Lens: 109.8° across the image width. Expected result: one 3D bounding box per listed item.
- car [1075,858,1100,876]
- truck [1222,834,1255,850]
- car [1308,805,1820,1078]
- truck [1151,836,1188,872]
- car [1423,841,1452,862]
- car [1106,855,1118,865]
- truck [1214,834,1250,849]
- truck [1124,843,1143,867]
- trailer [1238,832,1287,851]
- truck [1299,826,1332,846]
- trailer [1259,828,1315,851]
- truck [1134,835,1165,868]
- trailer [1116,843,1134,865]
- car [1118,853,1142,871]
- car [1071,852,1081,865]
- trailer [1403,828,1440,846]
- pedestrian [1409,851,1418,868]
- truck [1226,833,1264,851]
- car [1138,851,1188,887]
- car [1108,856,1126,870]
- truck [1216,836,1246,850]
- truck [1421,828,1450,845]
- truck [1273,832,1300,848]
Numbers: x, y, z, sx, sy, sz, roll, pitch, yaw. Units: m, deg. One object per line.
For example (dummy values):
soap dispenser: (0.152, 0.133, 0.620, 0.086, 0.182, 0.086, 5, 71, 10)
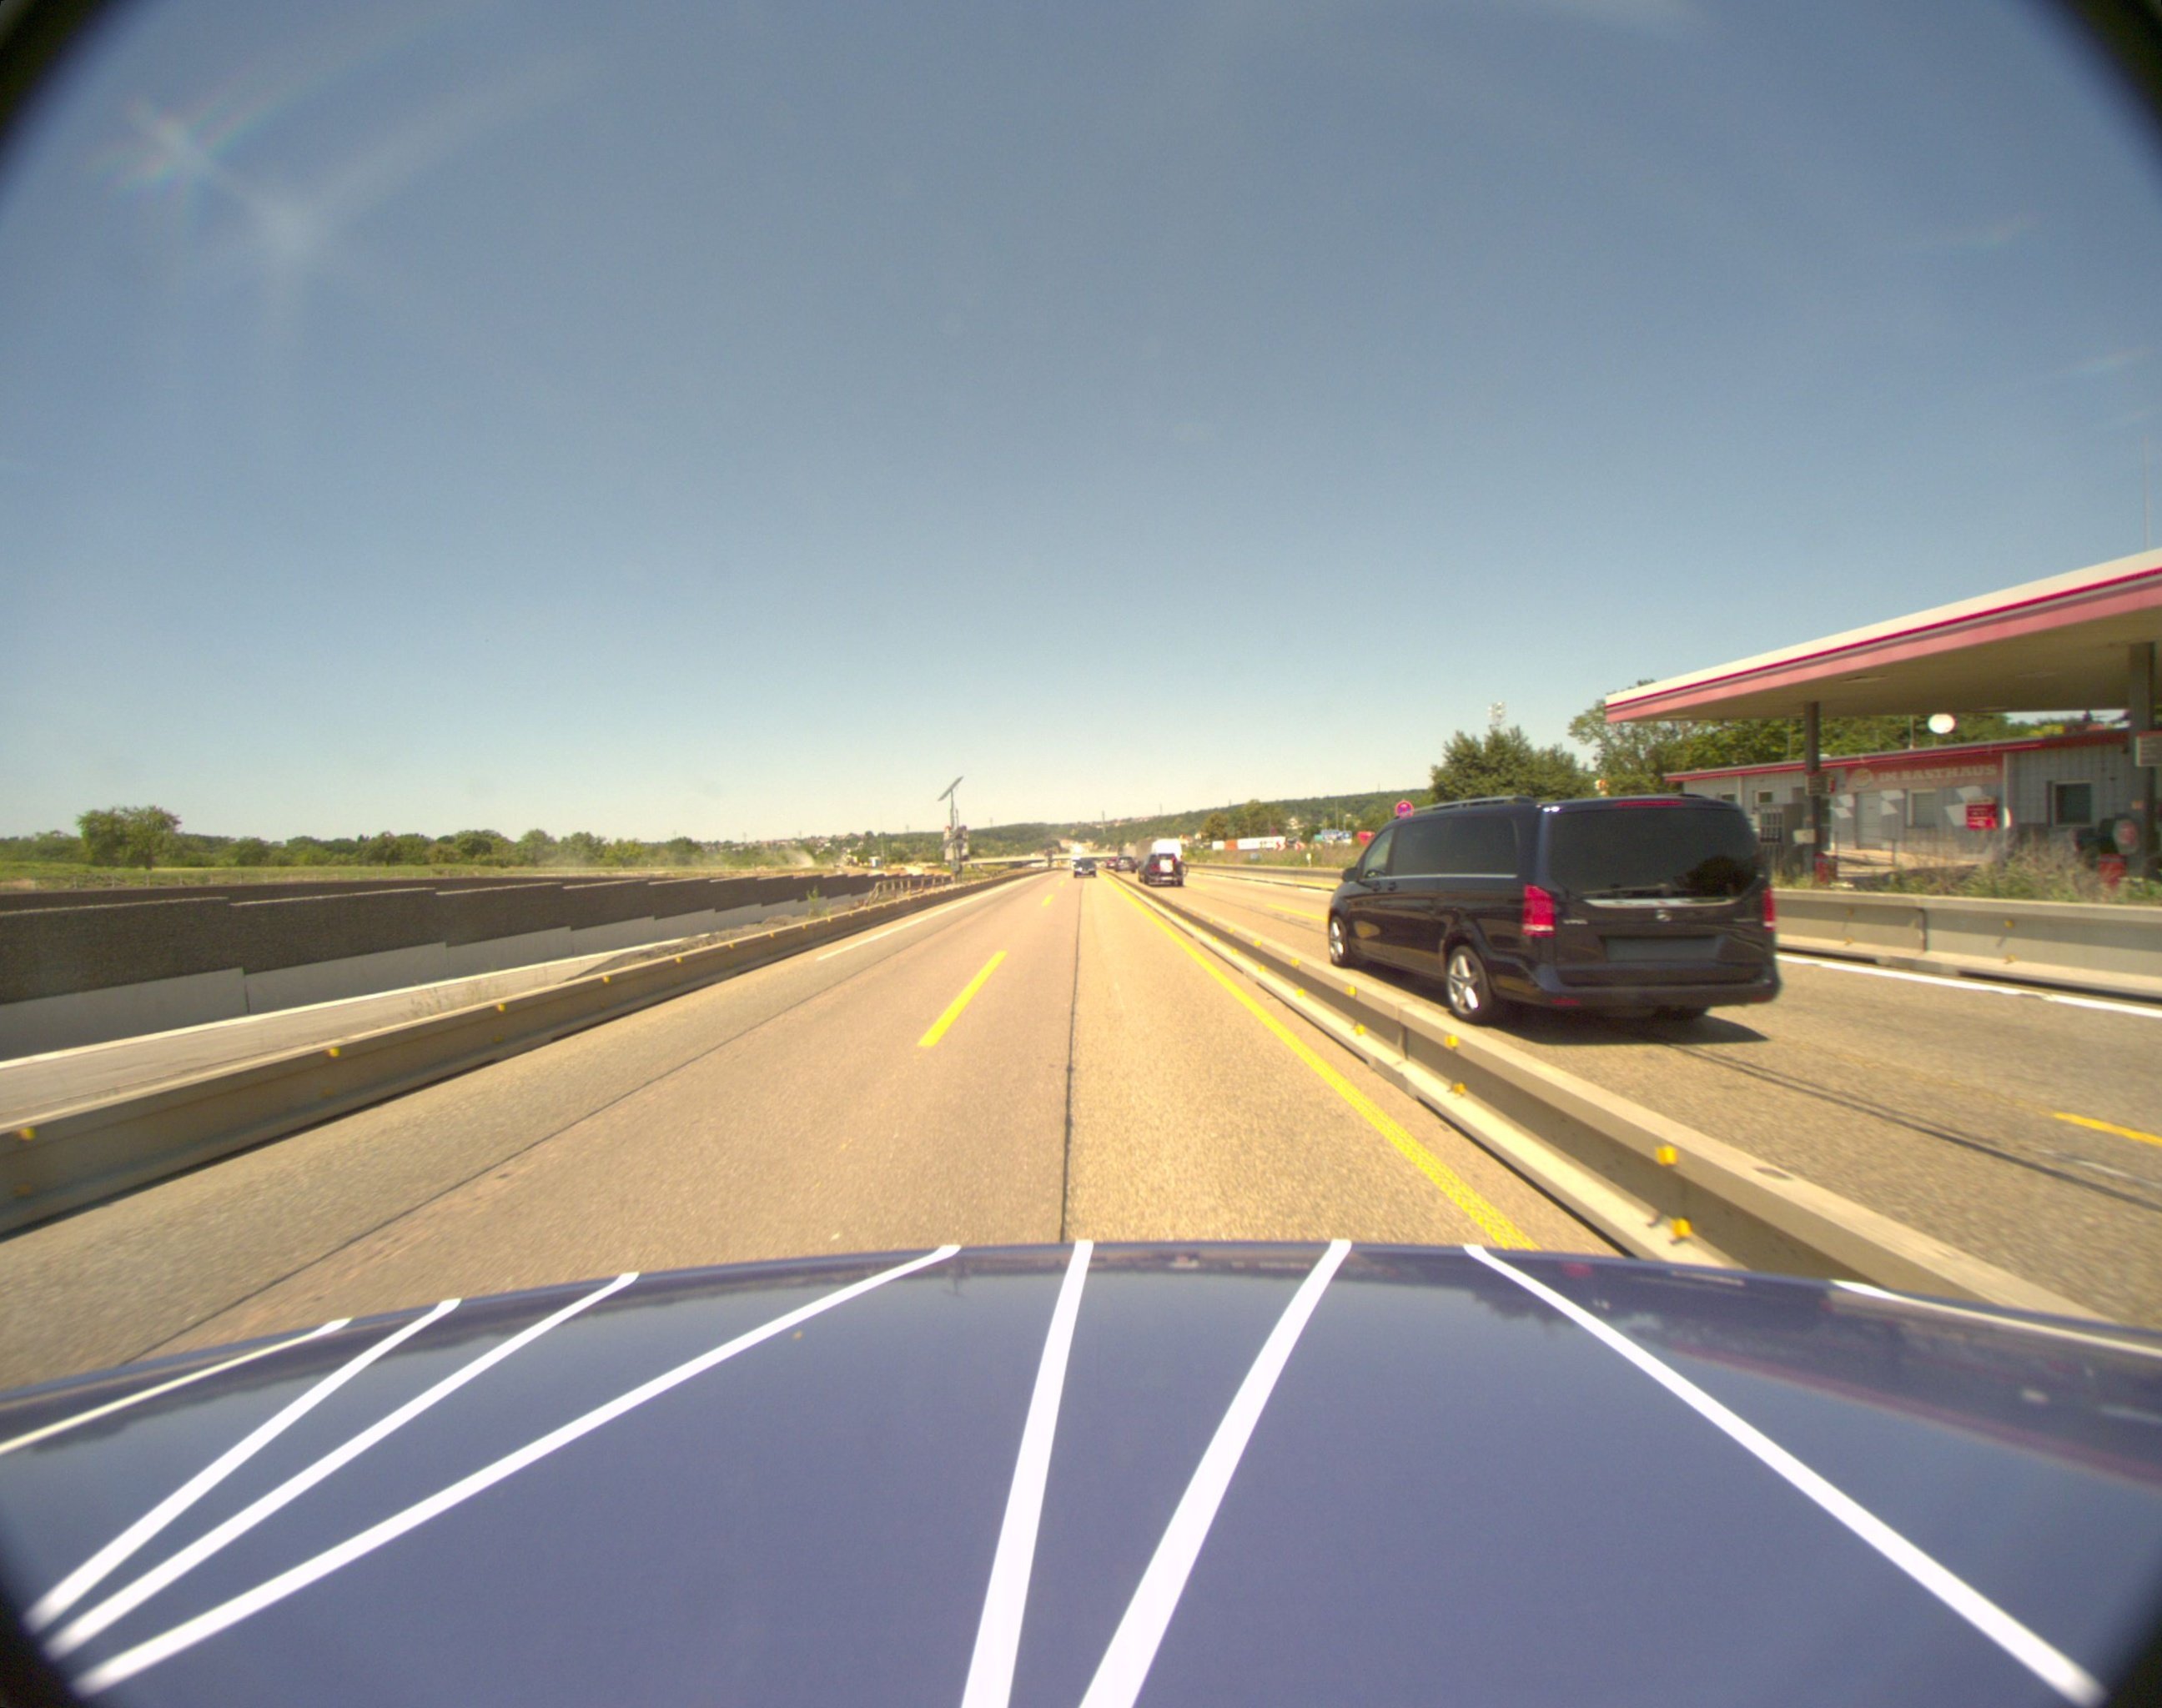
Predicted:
car: (0.531, 0.978, 57.385, 1.810, 1.299, 4.000, -2, 0, 1)
truck: (47.086, -3.595, 226.850, 9.253, 3.652, 2.867, -6, 0, 44)
car: (4.043, 0.609, 7.702, 1.912, 1.794, 5.082, -2, 0, 0)
truck: (7.359, 0.022, 63.761, 2.245, 2.770, 6.492, -2, 0, 0)
car: (26.434, -0.205, 56.307, 1.500, 1.324, 4.193, -5, 0, 30)
car: (4.899, 0.910, 119.945, 1.686, 1.420, 4.202, -2, 0, 1)
truck: (48.215, -4.111, 243.661, 11.491, 3.652, 2.535, -6, 0, 44)
truck: (7.716, 0.119, 112.441, 2.395, 3.364, 7.715, -3, 0, 1)
trailer: (47.910, -3.203, 201.208, 12.721, 3.762, 2.625, -6, 0, 45)
truck: (52.722, -4.070, 171.041, 6.131, 3.728, 2.838, -5, 0, 45)
trailer: (47.607, -3.407, 176.193, 2.865, 4.142, 12.348, -5, 0, -45)
truck: (7.281, -0.279, 81.200, 2.501, 3.273, 8.116, -2, 0, 0)
trailer: (9.059, 0.048, 157.878, 3.014, 4.173, 13.852, -2, 0, 1)
car: (4.494, 0.719, 70.303, 1.943, 1.601, 4.000, -2, 0, 2)
car: (-1.261, 1.229, 201.418, 2.544, 3.126, 7.548, -3, 0, 0)
trailer: (62.883, -3.102, 140.501, 2.260, 2.751, 9.395, -3, 0, -2)
pedestrian: (24.833, 0.404, 56.746, 0.474, 1.197, 0.586, -2, 0, 15)
truck: (47.491, -3.363, 220.244, 9.869, 4.195, 3.591, -6, 0, 43)
car: (3.851, 0.691, 36.478, 1.860, 1.594, 4.735, -2, 0, 0)
car: (4.477, 1.069, 95.142, 1.947, 1.649, 4.745, -1, 0, 1)
truck: (47.063, -3.583, 238.690, 9.135, 3.522, 2.696, -6, 0, 44)
truck: (63.020, -3.142, 135.057, 2.275, 2.751, 5.631, -3, 0, -2)
truck: (53.053, -3.588, 196.260, 5.724, 3.596, 2.585, -5, 0, 41)
